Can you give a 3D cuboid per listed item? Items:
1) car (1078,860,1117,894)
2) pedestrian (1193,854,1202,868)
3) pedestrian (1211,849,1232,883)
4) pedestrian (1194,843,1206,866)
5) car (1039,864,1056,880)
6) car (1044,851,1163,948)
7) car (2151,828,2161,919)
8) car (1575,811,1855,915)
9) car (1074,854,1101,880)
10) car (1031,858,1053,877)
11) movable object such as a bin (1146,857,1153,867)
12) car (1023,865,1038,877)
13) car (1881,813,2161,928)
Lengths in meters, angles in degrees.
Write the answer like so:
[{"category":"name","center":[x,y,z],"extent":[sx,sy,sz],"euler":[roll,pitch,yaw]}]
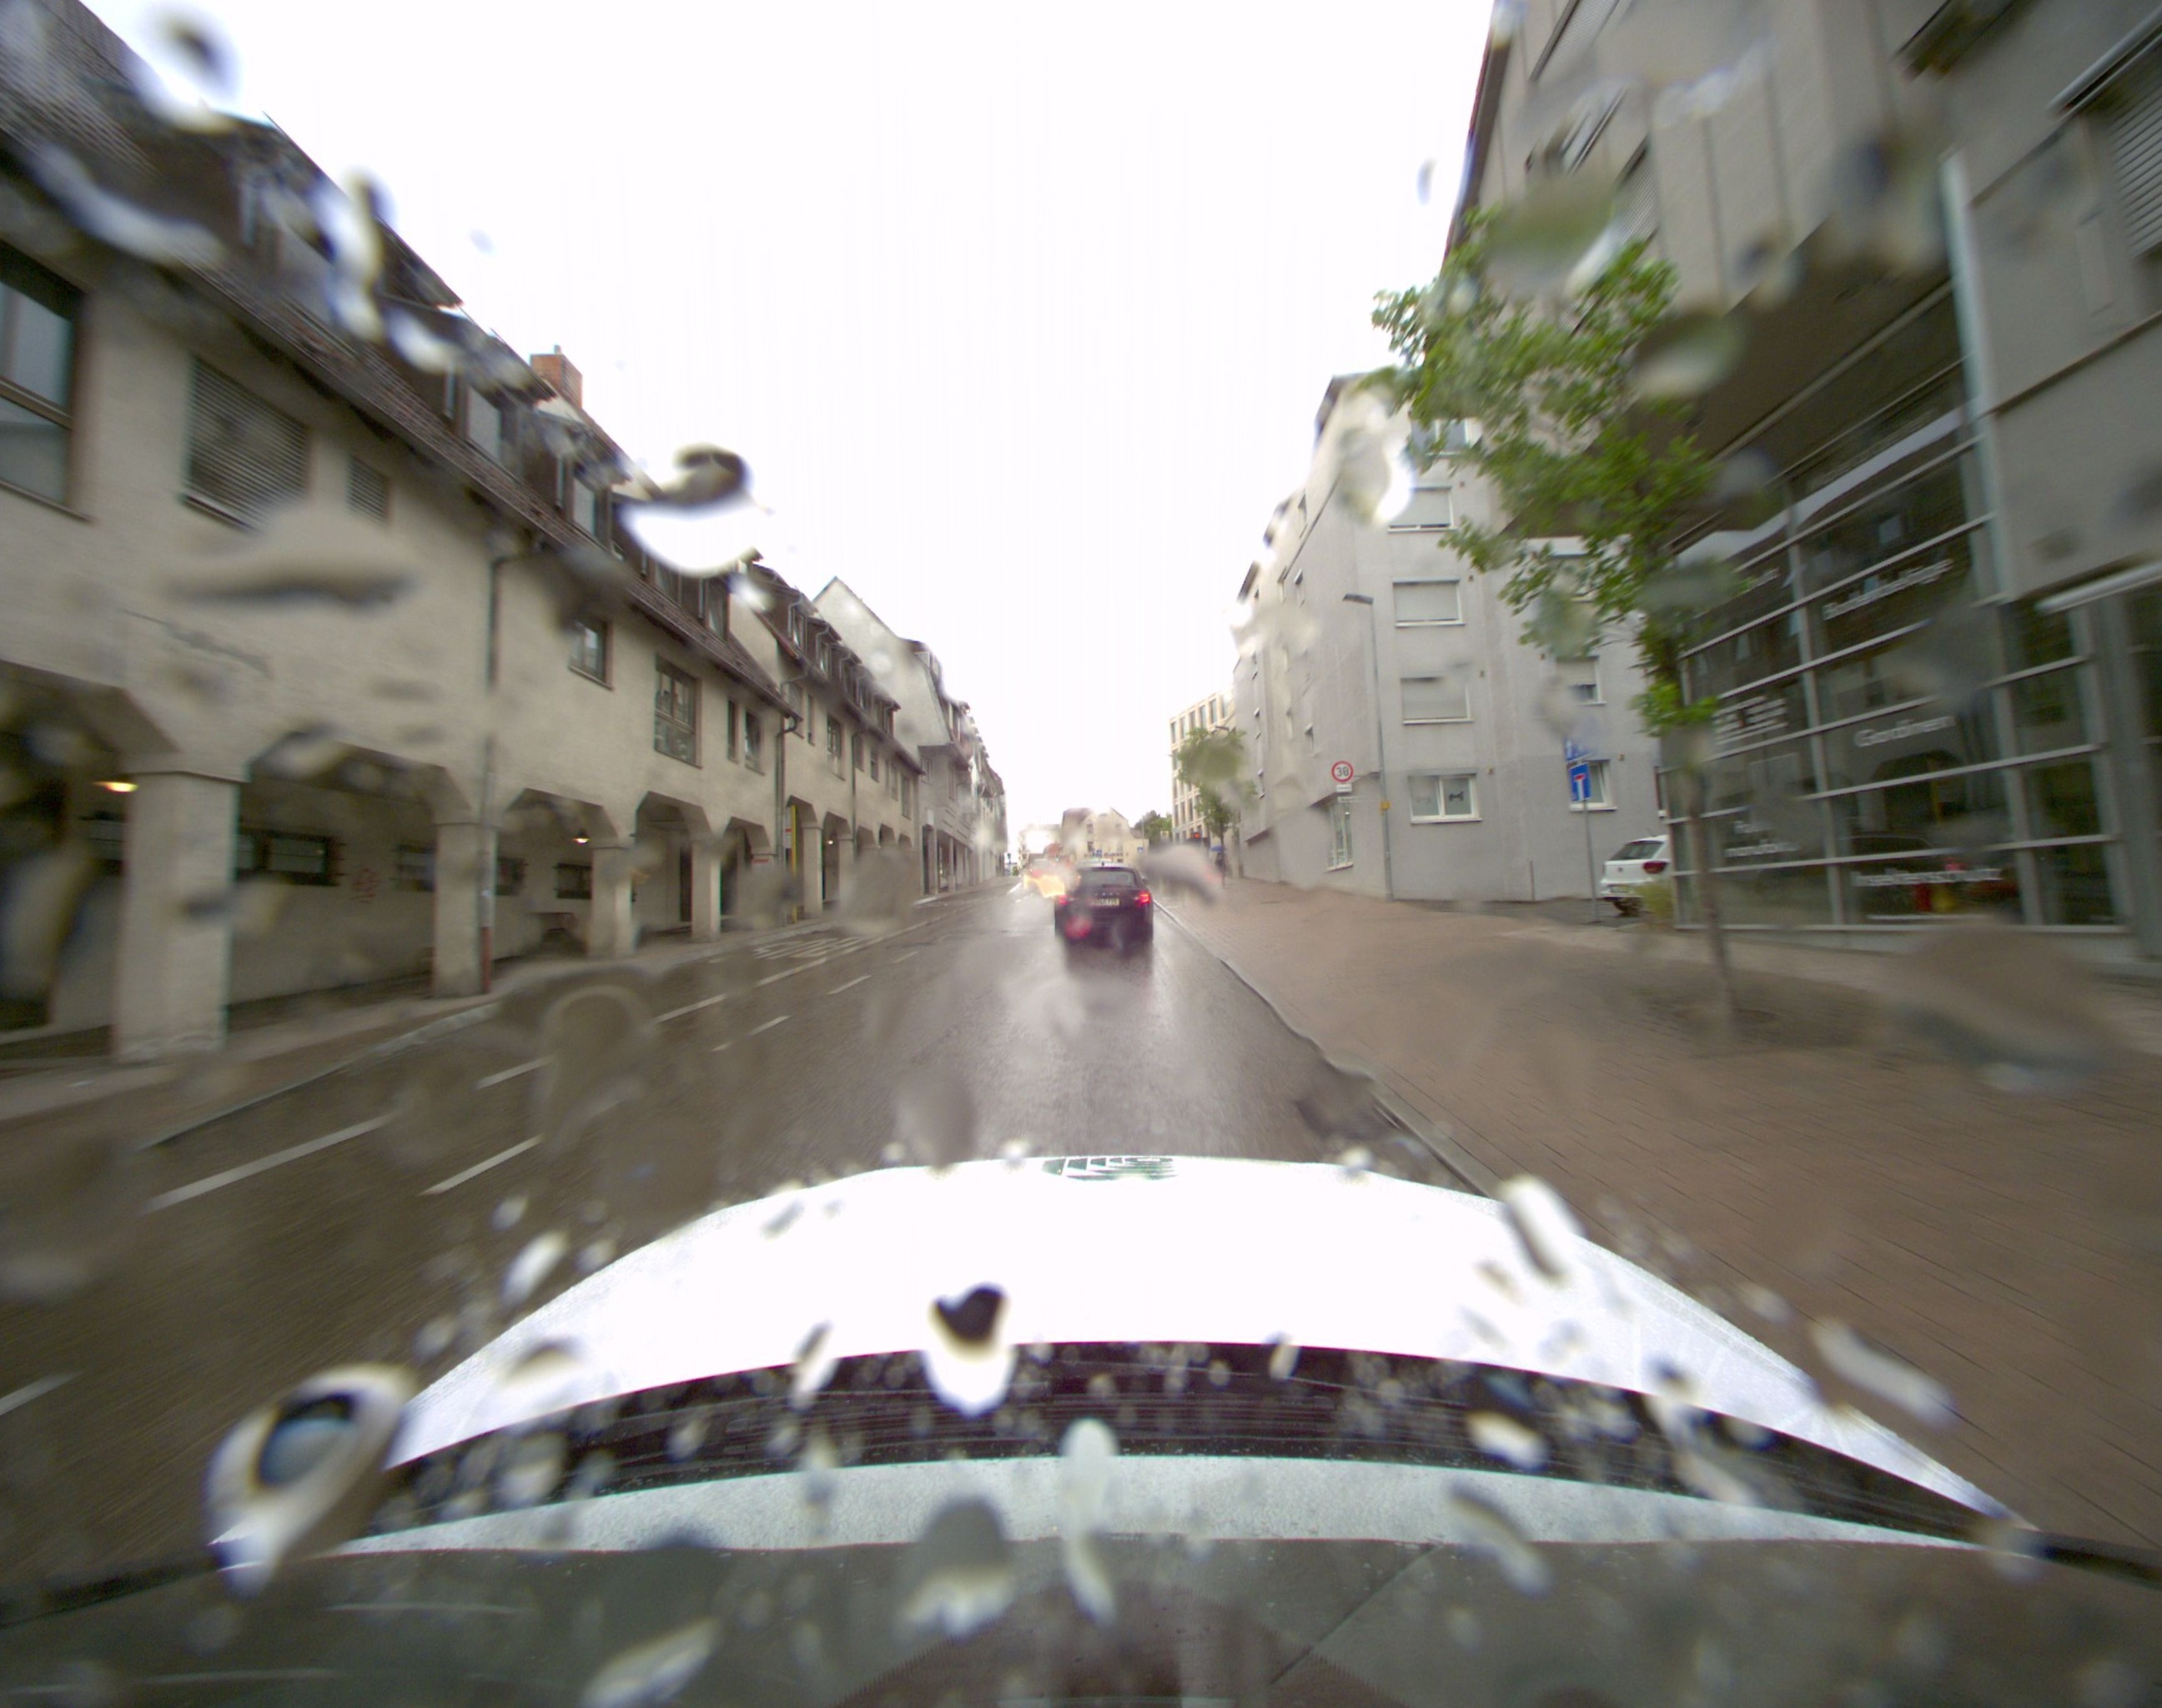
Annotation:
[{"category":"car","center":[0.751,1.100,39.720],"extent":[1.672,1.510,3.586],"euler":[-3,0,-2]},{"category":"pedestrian","center":[10.670,0.646,74.390],"extent":[0.669,1.162,0.635],"euler":[-4,-1,1]},{"category":"pedestrian","center":[6.693,0.560,38.891],"extent":[0.732,1.542,1.039],"euler":[-6,-1,4]},{"category":"pedestrian","center":[10.669,0.056,72.864],"extent":[0.779,1.940,1.021],"euler":[-4,-1,1]},{"category":"car","center":[-3.435,1.841,84.168],"extent":[1.672,1.510,3.586],"euler":[-3,0,-2]},{"category":"car","center":[0.412,0.783,15.945],"extent":[1.938,1.567,4.417],"euler":[-2,0,1]},{"category":"car","center":[22.175,0.173,14.559],"extent":[3.751,1.706,1.704],"euler":[-6,0,0]},{"category":"car","center":[11.613,0.176,15.112],"extent":[3.751,1.454,1.743],"euler":[-5,-1,-1]},{"category":"car","center":[0.454,0.844,54.313],"extent":[1.675,1.560,4.000],"euler":[-3,0,1]},{"category":"car","center":[-3.380,1.129,70.817],"extent":[1.672,1.510,3.588],"euler":[-3,0,0]},{"category":"movable object such as a bin","center":[7.214,0.816,85.438],"extent":[0.593,1.062,0.579],"euler":[-3,-1,0]},{"category":"car","center":[-6.407,2.208,103.920],"extent":[1.675,1.409,3.580],"euler":[-3,0,-7]},{"category":"car","center":[16.872,0.268,14.364],"extent":[3.751,1.543,1.704],"euler":[-6,0,0]}]
